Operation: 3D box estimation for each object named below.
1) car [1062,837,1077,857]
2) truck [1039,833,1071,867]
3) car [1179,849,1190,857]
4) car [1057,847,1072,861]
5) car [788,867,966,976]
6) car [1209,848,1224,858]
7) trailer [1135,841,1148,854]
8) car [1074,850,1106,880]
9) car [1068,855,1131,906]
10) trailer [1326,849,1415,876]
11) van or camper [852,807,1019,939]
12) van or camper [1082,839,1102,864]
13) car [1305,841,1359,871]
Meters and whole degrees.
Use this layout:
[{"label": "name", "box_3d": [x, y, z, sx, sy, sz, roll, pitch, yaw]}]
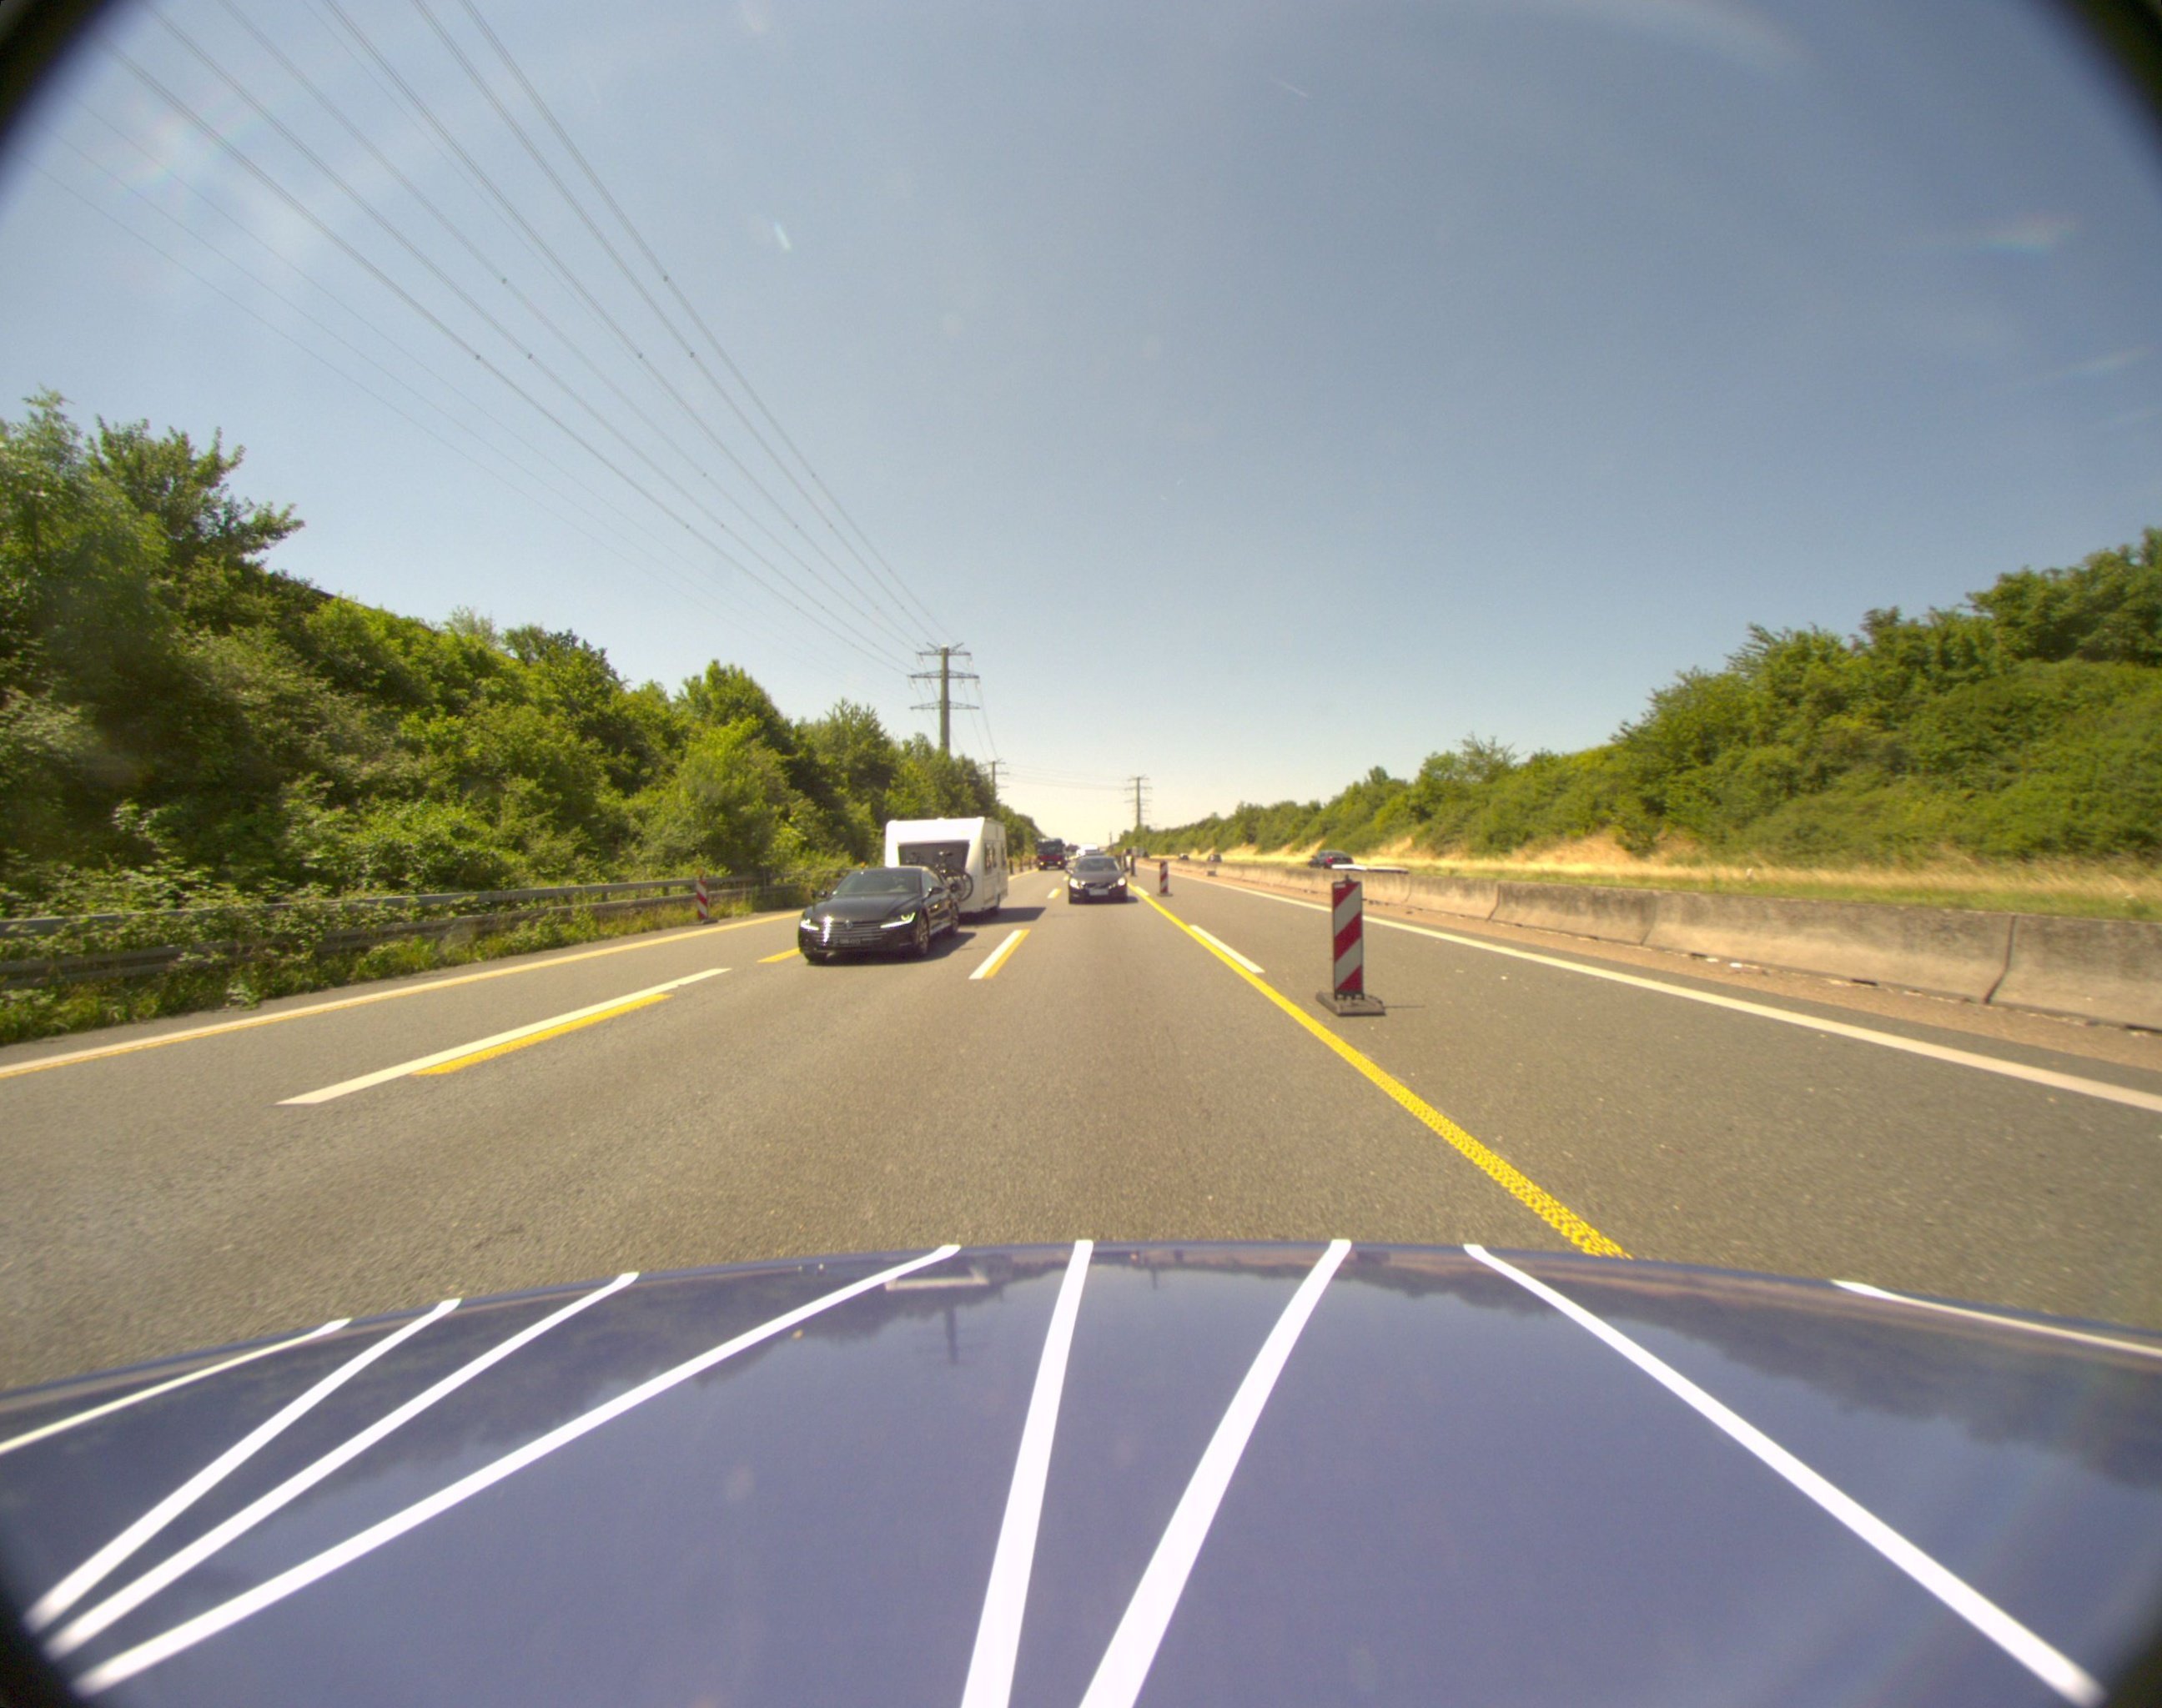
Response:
[{"label": "car", "box_3d": [-2.277, -1.407, 151.495, 2.397, 3.779, 10.273, -2, 1, 2]}, {"label": "truck", "box_3d": [-2.585, -0.435, 76.714, 2.431, 3.122, 7.648, -4, 0, 3]}, {"label": "car", "box_3d": [19.785, -0.143, 145.739, 1.578, 1.456, 3.778, 0, 1, 1]}, {"label": "car", "box_3d": [-2.253, 0.038, 104.345, 1.850, 1.810, 3.925, -2, 1, 1]}, {"label": "car", "box_3d": [-3.250, 1.008, 13.000, 1.800, 1.399, 4.209, -2, 0, 1]}, {"label": "car", "box_3d": [20.036, -0.156, 112.703, 1.503, 1.539, 3.999, 0, 1, 0]}, {"label": "trailer", "box_3d": [19.895, -2.179, 250.324, 2.960, 4.038, 13.635, 1, 0, 0]}, {"label": "car", "box_3d": [0.589, 0.605, 44.834, 1.675, 1.619, 4.691, -3, 0, 2]}, {"label": "car", "box_3d": [0.684, 0.786, 24.412, 1.798, 1.433, 4.001, -2, 0, 4]}, {"label": "trailer", "box_3d": [16.104, 0.415, 42.842, 2.362, 1.336, 7.216, 0, 1, 1]}, {"label": "van or camper", "box_3d": [-3.242, 0.359, 19.339, 2.432, 2.549, 8.417, -2, 0, 1]}, {"label": "van or camper", "box_3d": [1.170, -0.241, 80.941, 1.998, 2.604, 5.629, 0, 0, 2]}, {"label": "car", "box_3d": [16.053, 0.125, 48.789, 1.918, 1.743, 4.565, -2, 1, 1]}]
